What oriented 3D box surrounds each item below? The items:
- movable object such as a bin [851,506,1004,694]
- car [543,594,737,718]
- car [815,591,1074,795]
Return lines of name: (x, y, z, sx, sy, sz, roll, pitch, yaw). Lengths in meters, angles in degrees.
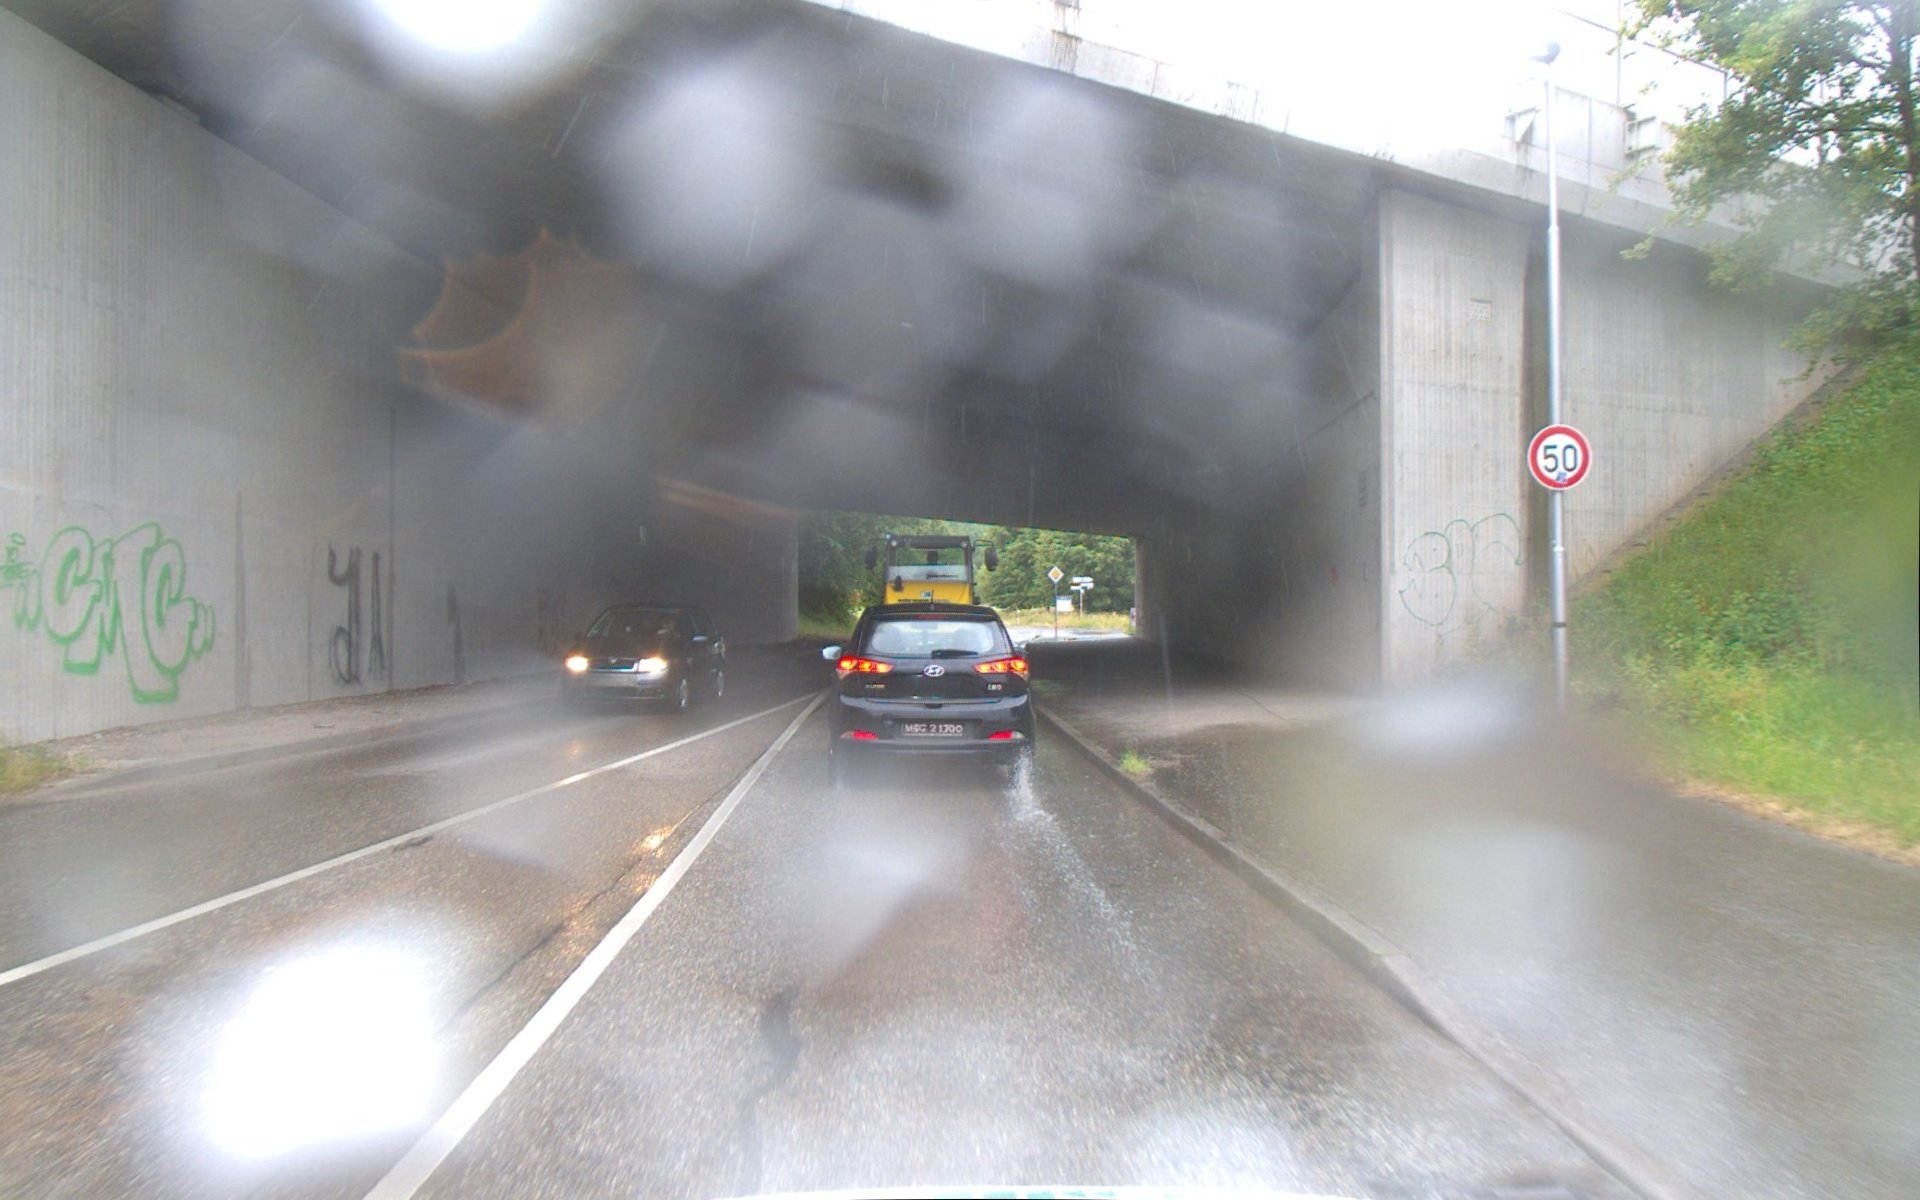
movable object such as a bin: (-0.516, 0.016, 27.837, 2.200, 2.716, 6.625, 2, 0, -1)
car: (-4.225, 0.691, 22.474, 1.655, 1.513, 4.074, 1, 0, 3)
car: (-0.138, 0.725, 14.704, 1.953, 1.513, 3.999, 2, 0, -1)
